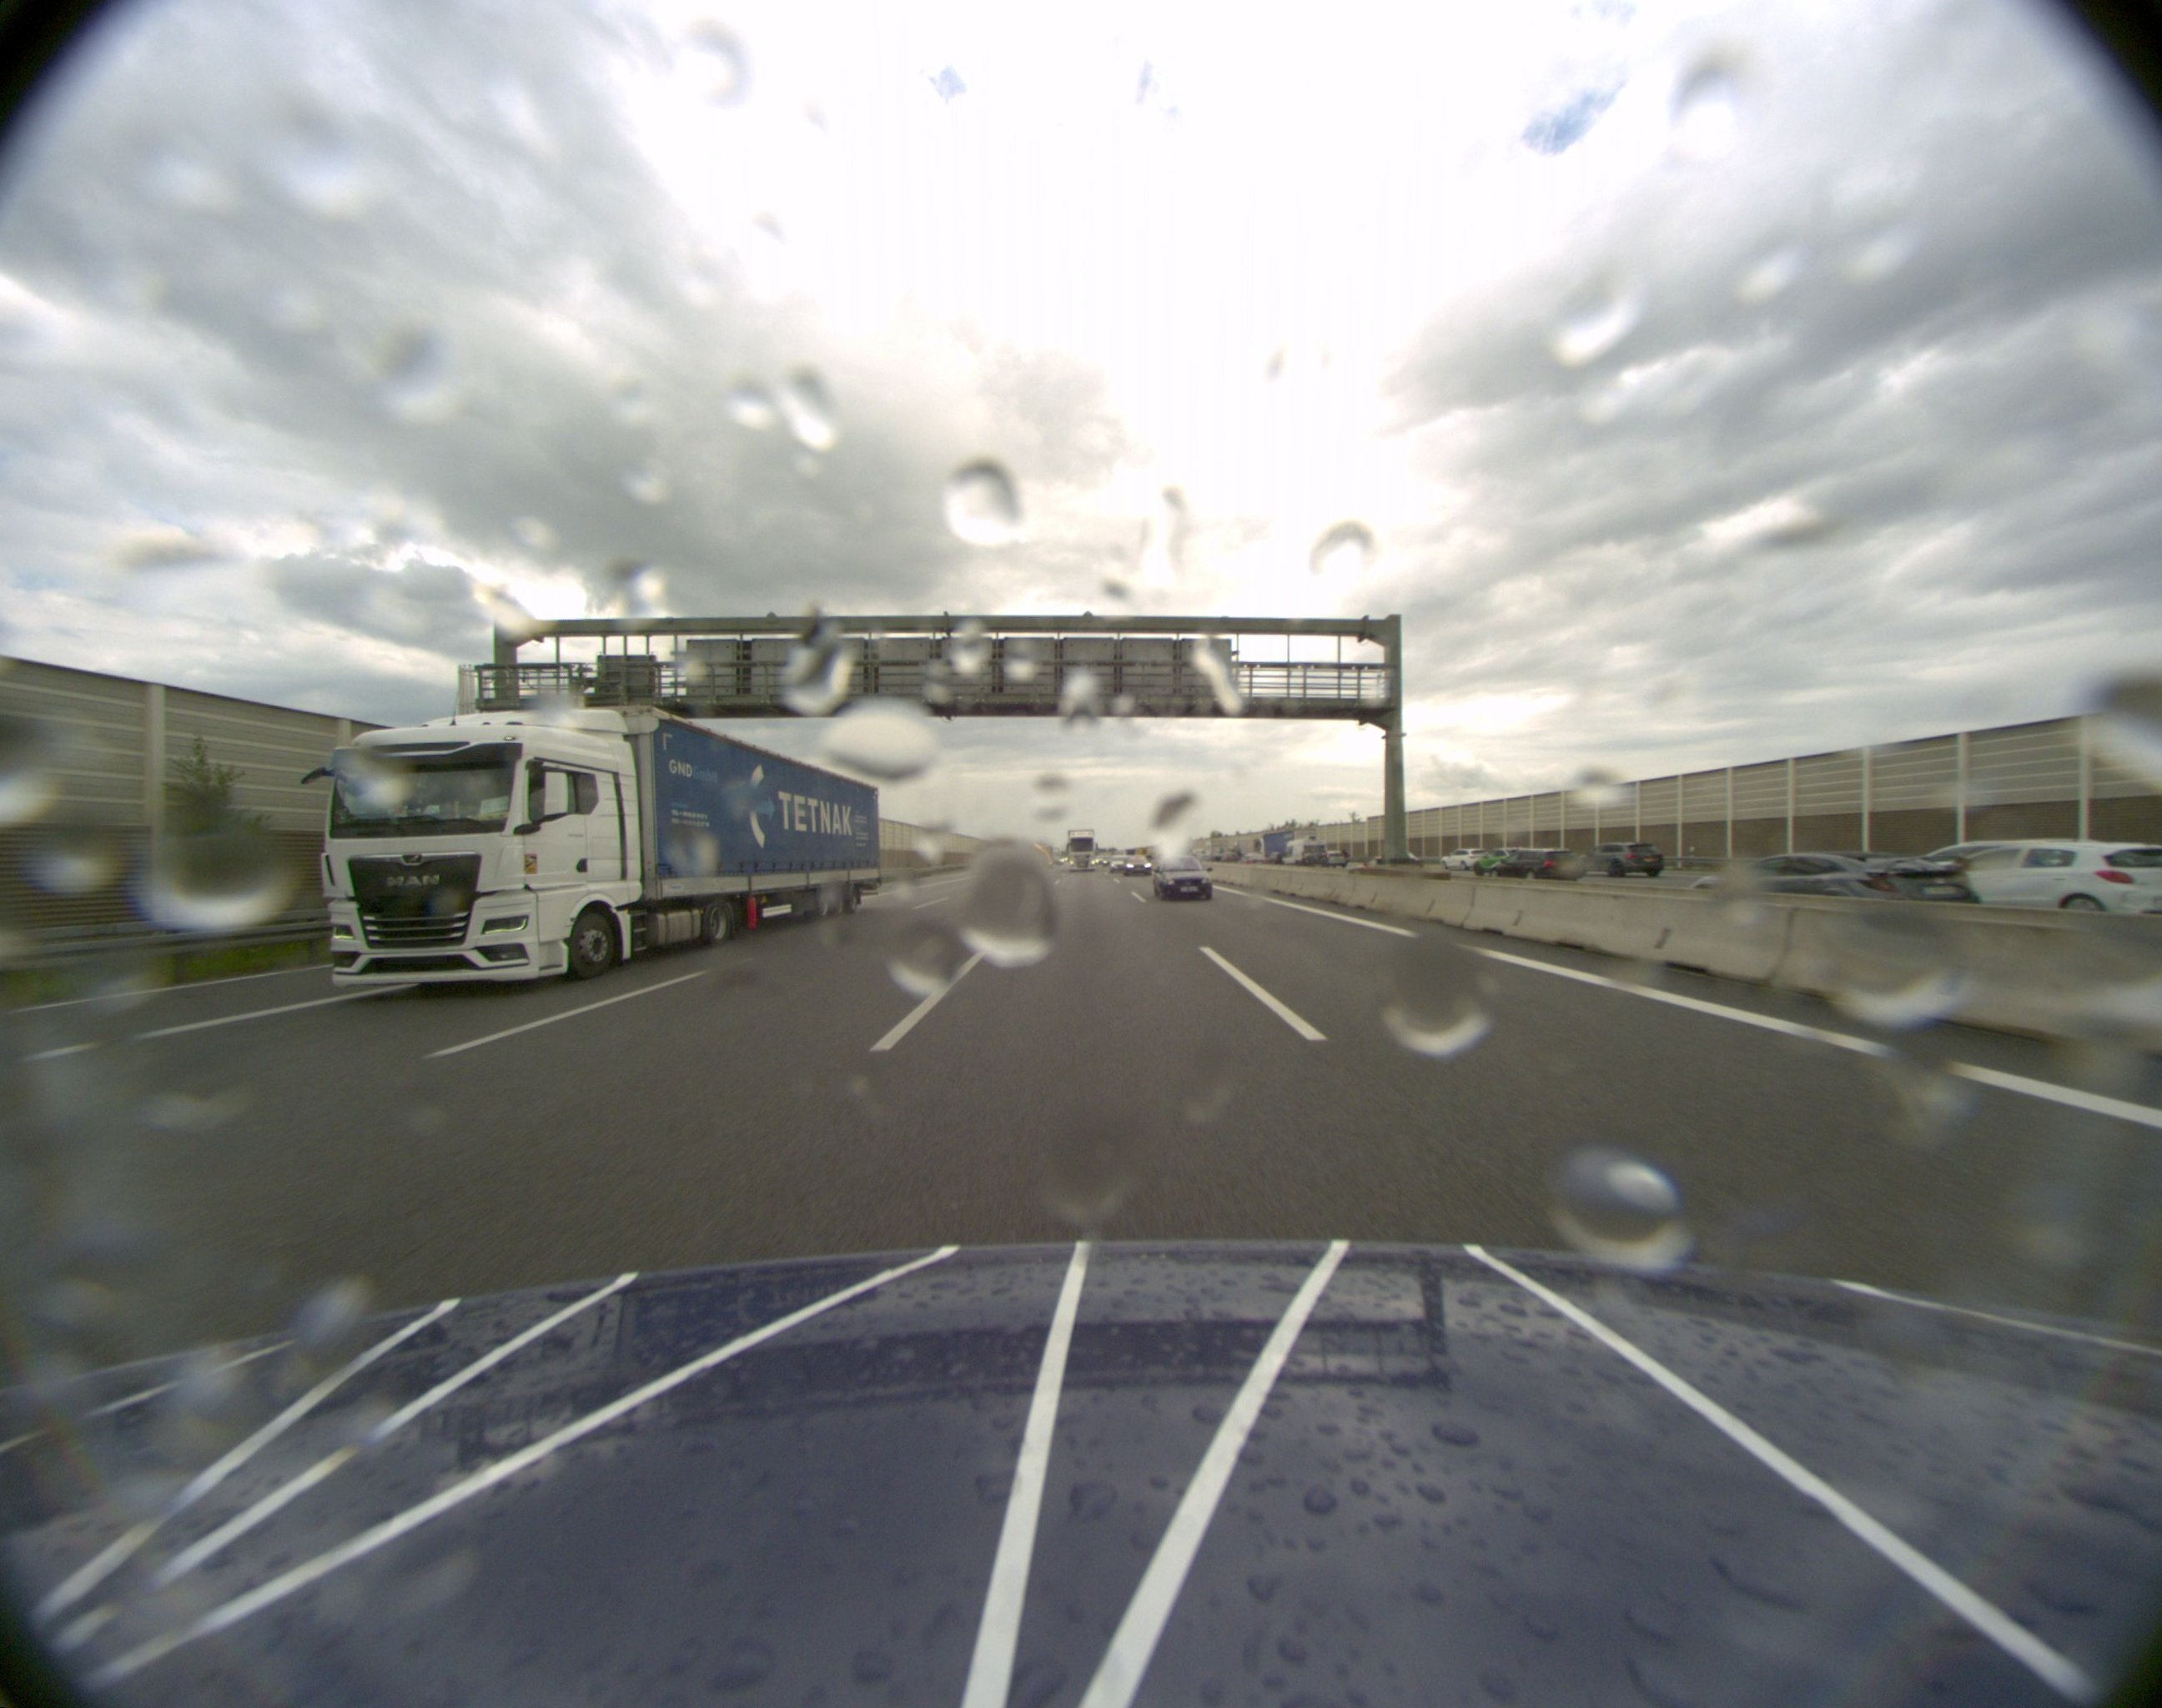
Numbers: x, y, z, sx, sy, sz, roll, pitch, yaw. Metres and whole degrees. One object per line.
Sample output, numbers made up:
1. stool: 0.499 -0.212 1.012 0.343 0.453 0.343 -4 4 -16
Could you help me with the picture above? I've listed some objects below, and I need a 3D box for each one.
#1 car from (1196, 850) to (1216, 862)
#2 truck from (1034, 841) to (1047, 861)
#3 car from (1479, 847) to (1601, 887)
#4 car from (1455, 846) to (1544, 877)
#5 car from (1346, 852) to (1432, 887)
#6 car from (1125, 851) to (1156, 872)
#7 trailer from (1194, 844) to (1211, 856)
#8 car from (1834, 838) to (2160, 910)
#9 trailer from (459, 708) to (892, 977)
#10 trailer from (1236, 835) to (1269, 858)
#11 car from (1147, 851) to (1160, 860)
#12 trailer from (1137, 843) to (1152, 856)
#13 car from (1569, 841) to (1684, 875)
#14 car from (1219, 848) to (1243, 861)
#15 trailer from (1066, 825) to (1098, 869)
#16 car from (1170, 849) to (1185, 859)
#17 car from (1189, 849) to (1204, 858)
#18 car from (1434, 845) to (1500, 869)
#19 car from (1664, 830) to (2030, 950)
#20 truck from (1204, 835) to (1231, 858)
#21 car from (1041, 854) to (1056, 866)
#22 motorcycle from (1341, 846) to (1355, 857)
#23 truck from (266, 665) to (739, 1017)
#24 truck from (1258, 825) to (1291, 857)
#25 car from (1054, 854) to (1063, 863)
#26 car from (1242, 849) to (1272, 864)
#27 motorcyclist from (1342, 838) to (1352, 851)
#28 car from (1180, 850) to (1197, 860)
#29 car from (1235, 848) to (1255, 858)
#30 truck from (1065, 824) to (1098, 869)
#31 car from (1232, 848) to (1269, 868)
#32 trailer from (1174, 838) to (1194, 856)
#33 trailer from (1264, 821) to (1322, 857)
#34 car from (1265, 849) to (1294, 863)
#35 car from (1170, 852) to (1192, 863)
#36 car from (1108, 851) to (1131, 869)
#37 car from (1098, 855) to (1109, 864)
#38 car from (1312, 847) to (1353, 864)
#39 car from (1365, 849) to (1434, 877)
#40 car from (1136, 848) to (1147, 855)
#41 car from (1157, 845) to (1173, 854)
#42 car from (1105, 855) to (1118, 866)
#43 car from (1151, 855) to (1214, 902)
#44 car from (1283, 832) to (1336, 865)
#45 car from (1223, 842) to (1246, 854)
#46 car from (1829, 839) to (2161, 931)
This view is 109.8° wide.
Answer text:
1. car: 18.195 0.299 110.713 2.065 1.590 4.996 -1 1 -1
2. truck: -8.839 -0.661 165.697 2.600 4.088 11.368 -1 0 -3
3. car: 18.688 0.481 31.275 2.065 1.482 4.997 -1 1 1
4. car: 22.133 0.357 40.402 2.065 1.482 4.997 -1 1 1
5. car: 14.226 0.659 35.441 2.065 1.482 4.997 -1 1 1
6. car: 4.181 0.515 54.114 1.776 1.451 4.480 -1 0 -1
7. trailer: 25.431 -0.760 159.371 2.465 2.480 6.085 -1 0 0
8. car: 21.992 0.405 18.691 2.065 1.482 4.997 -1 1 1
9. trailer: -7.942 -0.168 18.731 2.768 4.008 14.452 -1 0 0
10. trailer: 32.368 -1.315 143.805 2.943 4.008 13.859 -1 0 0
11. car: 13.932 0.381 146.514 1.878 1.689 4.221 -1 0 -1
12. trailer: 19.340 -1.339 232.930 2.769 4.008 14.450 -1 0 -2
13. car: 26.093 0.173 36.607 2.065 1.482 4.997 -1 1 1
14. car: 18.480 0.027 93.650 2.065 1.482 4.997 -1 1 1
15. trailer: 0.231 -0.676 80.262 2.925 4.188 13.197 -2 0 1
16. car: 18.027 0.003 142.024 2.066 1.805 4.777 -1 0 -2
17. car: 21.646 -0.083 142.535 2.065 1.482 4.997 -1 1 0
18. car: 26.387 0.172 52.114 2.065 1.482 4.997 -1 1 1
19. car: 14.077 0.561 14.567 2.065 1.869 4.997 -1 1 1
20. truck: 22.154 -1.118 123.789 2.703 3.506 9.995 -2 0 0
21. car: -4.208 0.750 98.471 1.698 1.395 3.999 -1 0 -1
22. motorcycle: 25.792 -0.236 73.452 0.519 1.001 2.431 -2 0 0
23. truck: -7.987 -0.141 11.667 2.752 4.011 5.726 -1 0 0
24. truck: 25.494 -1.709 100.433 2.752 4.011 5.725 -1 0 -1
25. car: -3.867 0.766 132.979 1.498 1.395 3.999 -1 0 -1
26. car: 18.488 0.256 80.011 2.065 1.482 4.997 -1 1 1
27. motorcyclist: 25.747 -0.941 73.639 0.638 1.217 0.796 -2 0 0
28. car: 18.040 0.163 127.800 1.878 1.689 5.015 -1 0 -1
29. car: 26.264 -0.204 121.806 2.065 1.590 4.996 -1 1 -1
30. truck: 0.118 -0.690 74.804 2.913 4.146 5.193 -2 0 2
31. car: 13.968 0.302 62.948 2.065 1.482 4.997 -1 1 1
32. trailer: 25.018 -1.621 185.813 2.768 4.008 14.451 -1 0 0
33. trailer: 25.609 -1.709 92.891 2.768 4.008 14.451 -1 0 -1
34. car: 21.795 0.161 83.653 2.065 1.482 4.997 -1 1 1
35. car: 13.561 0.462 103.381 2.066 1.482 4.996 -1 1 -2
36. car: 3.249 0.499 64.756 1.732 1.395 3.999 -1 0 -1
37. car: 3.643 0.888 123.819 1.498 1.395 3.999 -1 0 -1
38. car: 22.208 0.108 67.291 2.065 1.482 4.997 -1 1 1
39. car: 18.611 0.490 44.642 2.065 1.482 4.997 -1 1 1
40. car: 15.582 -0.603 195.360 2.066 1.805 4.777 -1 0 -2
41. car: 13.884 -0.723 125.528 1.878 1.291 5.599 -1 0 -1
42. car: 3.957 0.847 100.111 1.498 1.395 3.999 -1 0 -1
43. car: 3.315 0.760 25.512 1.578 1.395 4.000 -1 0 0
44. car: 18.585 -0.436 62.193 2.389 2.535 7.086 -1 0 1
45. car: 21.567 -0.783 106.824 2.065 1.590 4.996 -1 1 -1
46. car: 18.183 0.487 14.954 2.065 1.482 4.997 -1 1 1
